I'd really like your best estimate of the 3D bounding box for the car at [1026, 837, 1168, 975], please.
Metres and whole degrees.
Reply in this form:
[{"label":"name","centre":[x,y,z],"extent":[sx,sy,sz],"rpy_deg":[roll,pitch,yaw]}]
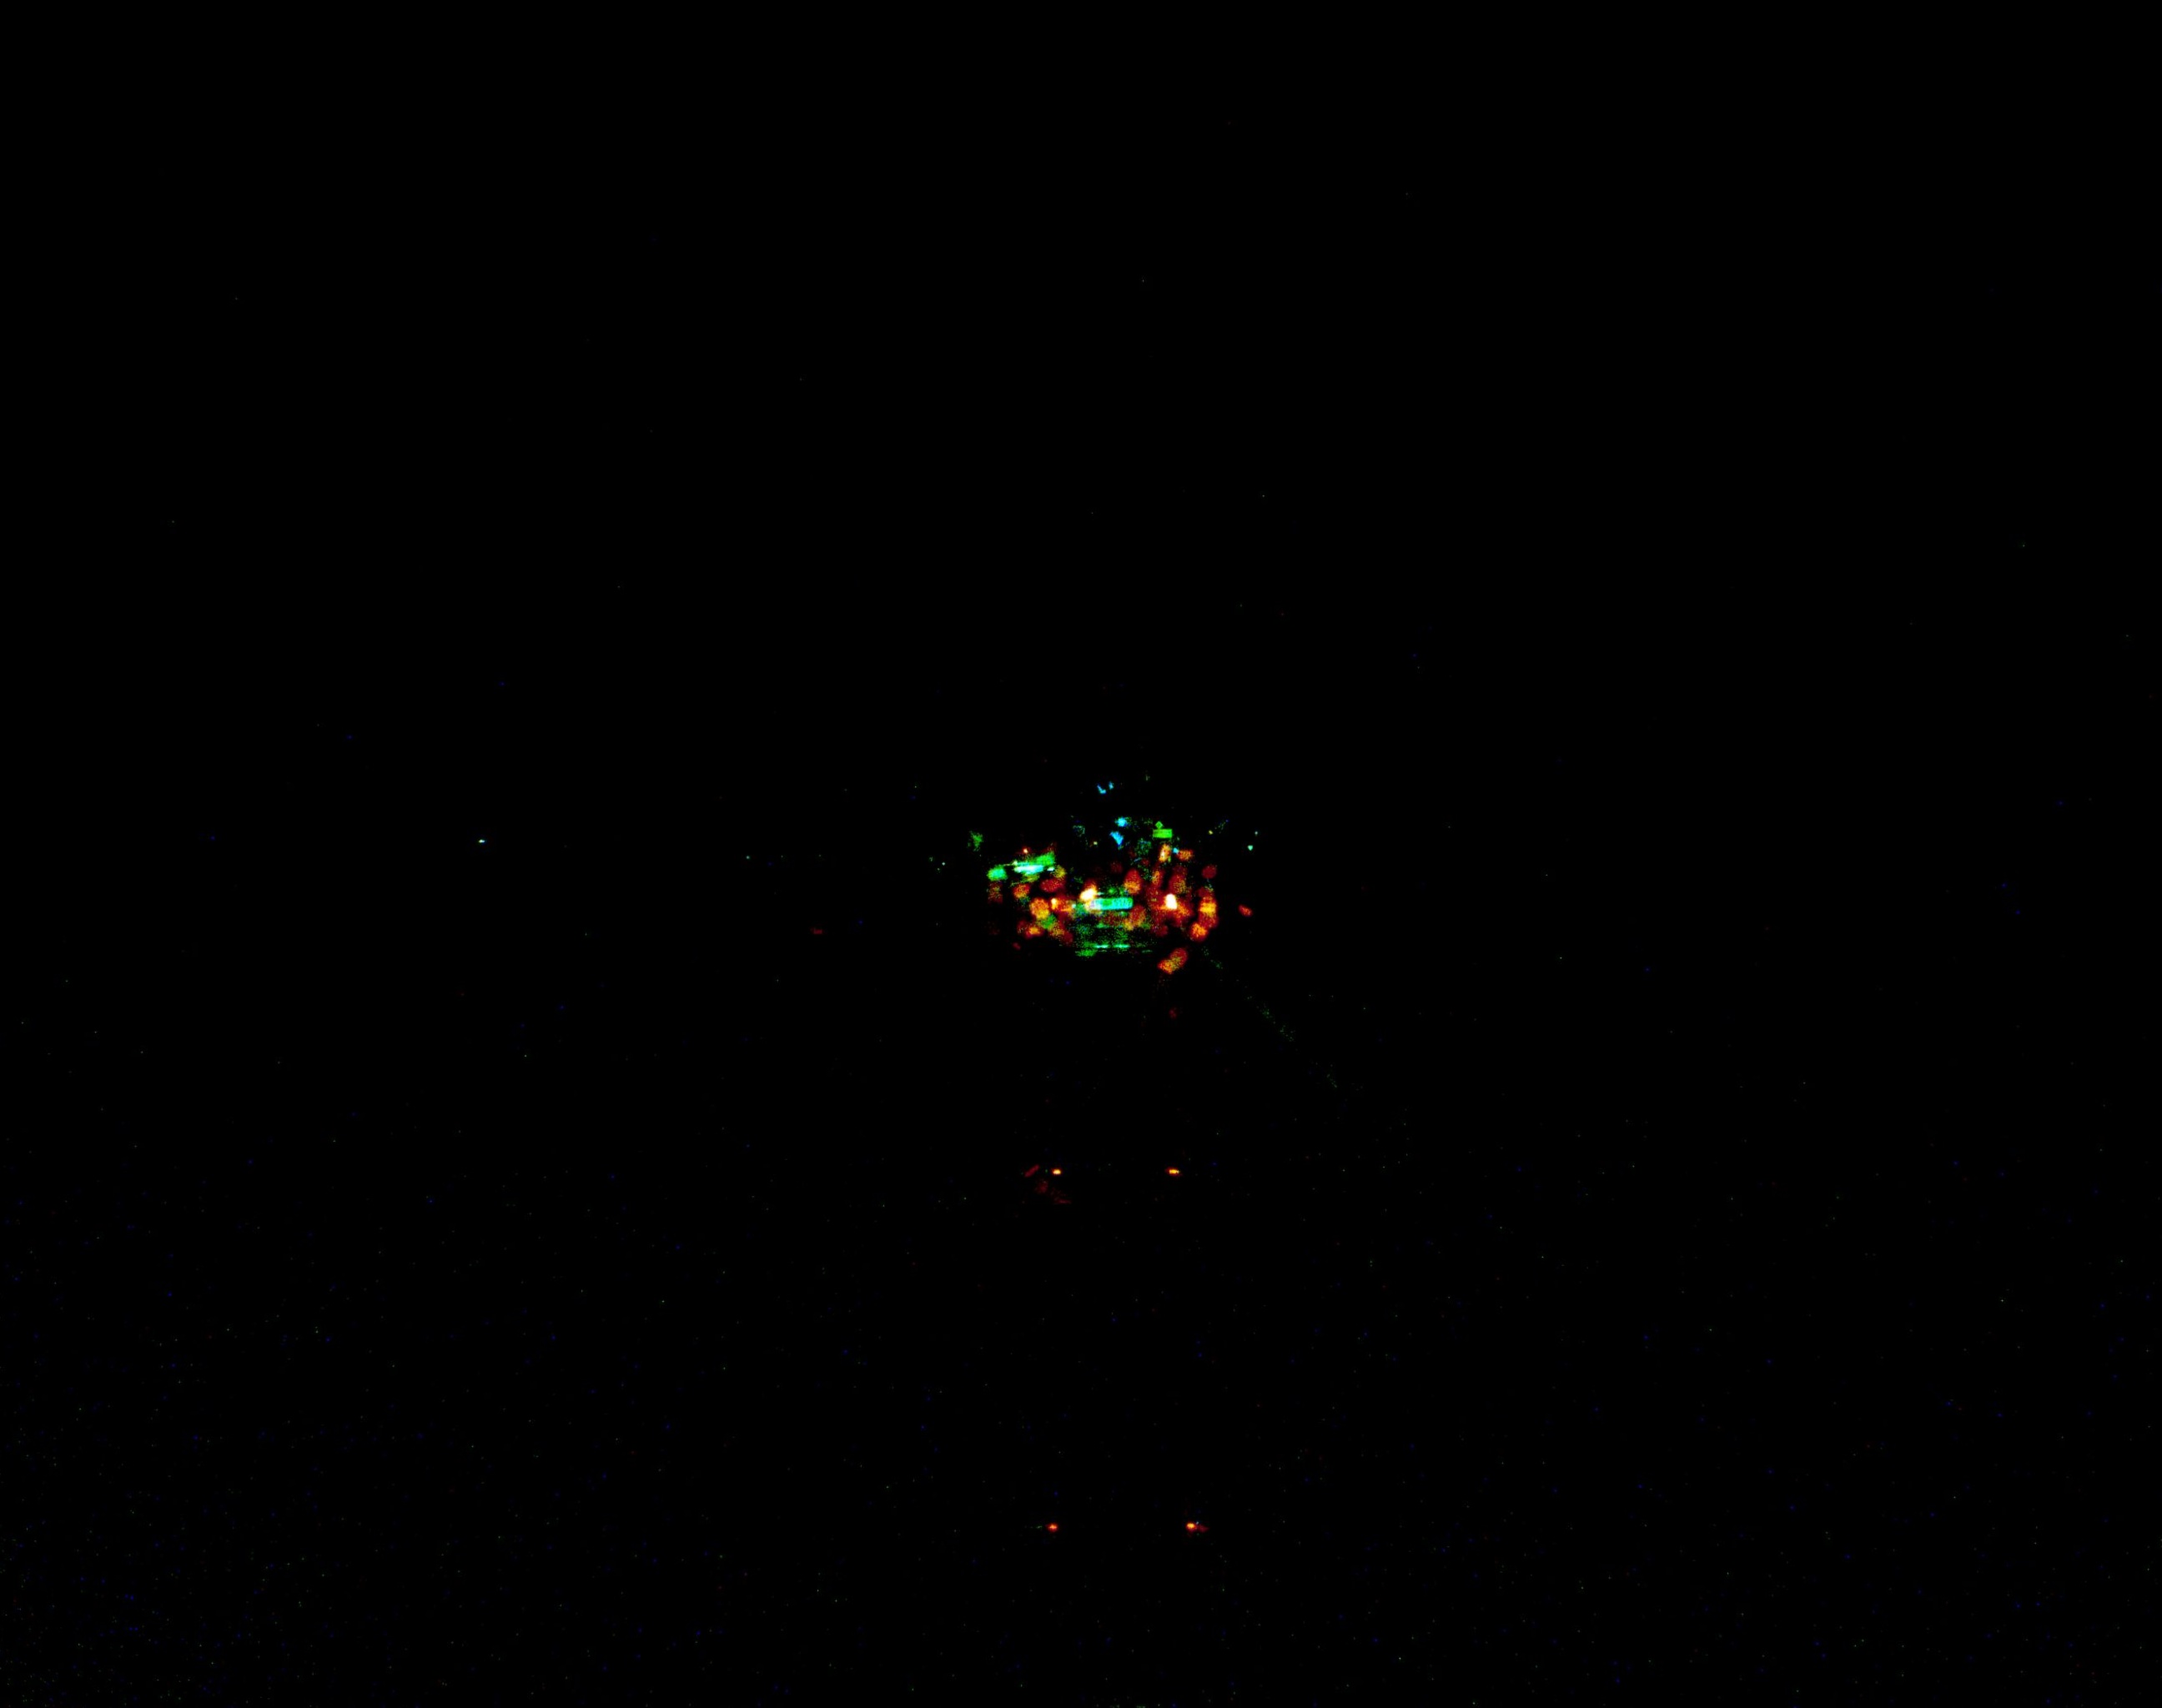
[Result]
[{"label":"car","centre":[0.287,0.673,12.243],"extent":[1.768,1.712,4.002],"rpy_deg":[-1,-1,2]}]
